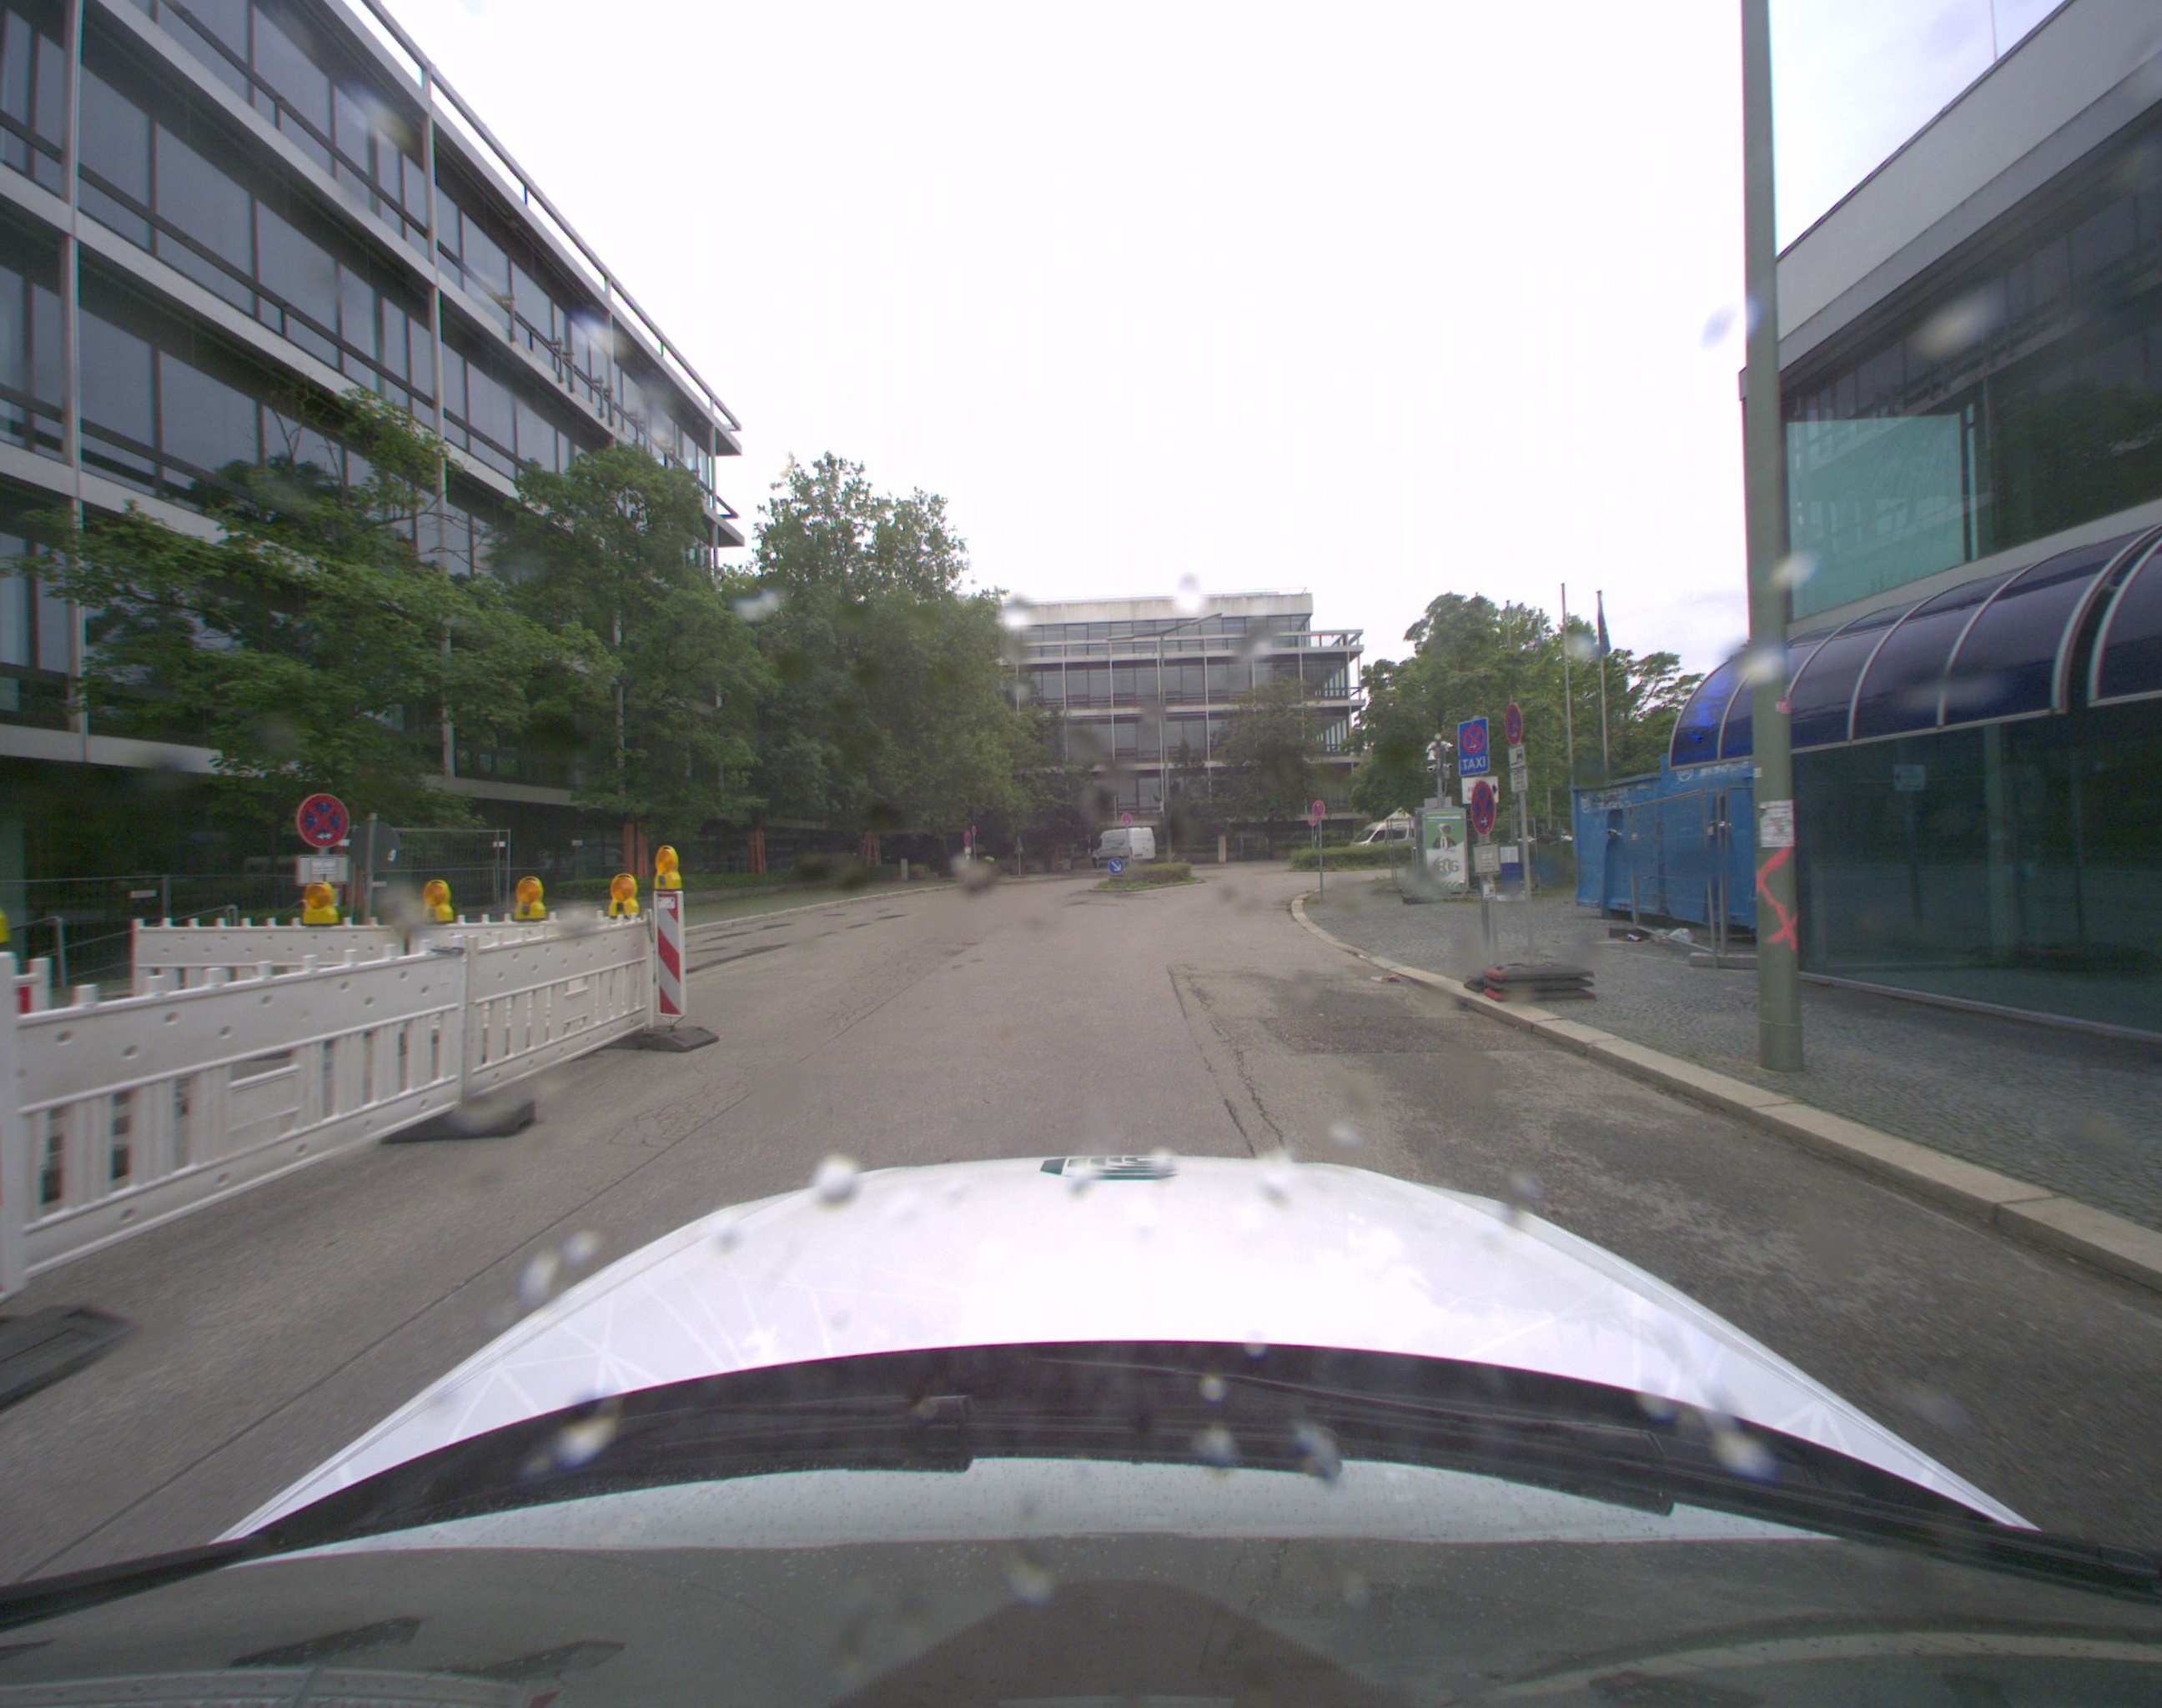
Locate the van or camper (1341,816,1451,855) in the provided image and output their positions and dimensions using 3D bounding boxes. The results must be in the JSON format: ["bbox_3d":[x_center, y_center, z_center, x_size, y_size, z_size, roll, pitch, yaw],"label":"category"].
[{"bbox_3d":[20.417,-1.183,52.853,6.402,2.281,2.246,-2,0,-12],"label":"van or camper"}]

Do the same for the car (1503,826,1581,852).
[{"bbox_3d":[30.303,-0.987,53.583,3.970,1.508,2.002,-2,0,3],"label":"car"}]

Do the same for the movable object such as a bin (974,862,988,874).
[{"bbox_3d":[-6.688,0.916,54.423,0.830,0.753,0.573,-1,0,4],"label":"movable object such as a bin"}]

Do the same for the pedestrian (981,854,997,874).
[{"bbox_3d":[-6.129,0.651,54.443,0.922,1.278,0.542,-1,0,4],"label":"pedestrian"}]

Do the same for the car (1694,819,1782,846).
[{"bbox_3d":[42.570,-1.391,52.828,3.970,1.574,2.002,-2,0,3],"label":"car"}]

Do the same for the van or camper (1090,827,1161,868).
[{"bbox_3d":[2.986,-0.391,56.332,2.165,2.580,6.487,-1,-1,-23],"label":"van or camper"}]

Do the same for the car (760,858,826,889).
[{"bbox_3d":[-15.339,1.004,43.554,1.898,1.473,3.864,-2,0,4],"label":"car"}]
